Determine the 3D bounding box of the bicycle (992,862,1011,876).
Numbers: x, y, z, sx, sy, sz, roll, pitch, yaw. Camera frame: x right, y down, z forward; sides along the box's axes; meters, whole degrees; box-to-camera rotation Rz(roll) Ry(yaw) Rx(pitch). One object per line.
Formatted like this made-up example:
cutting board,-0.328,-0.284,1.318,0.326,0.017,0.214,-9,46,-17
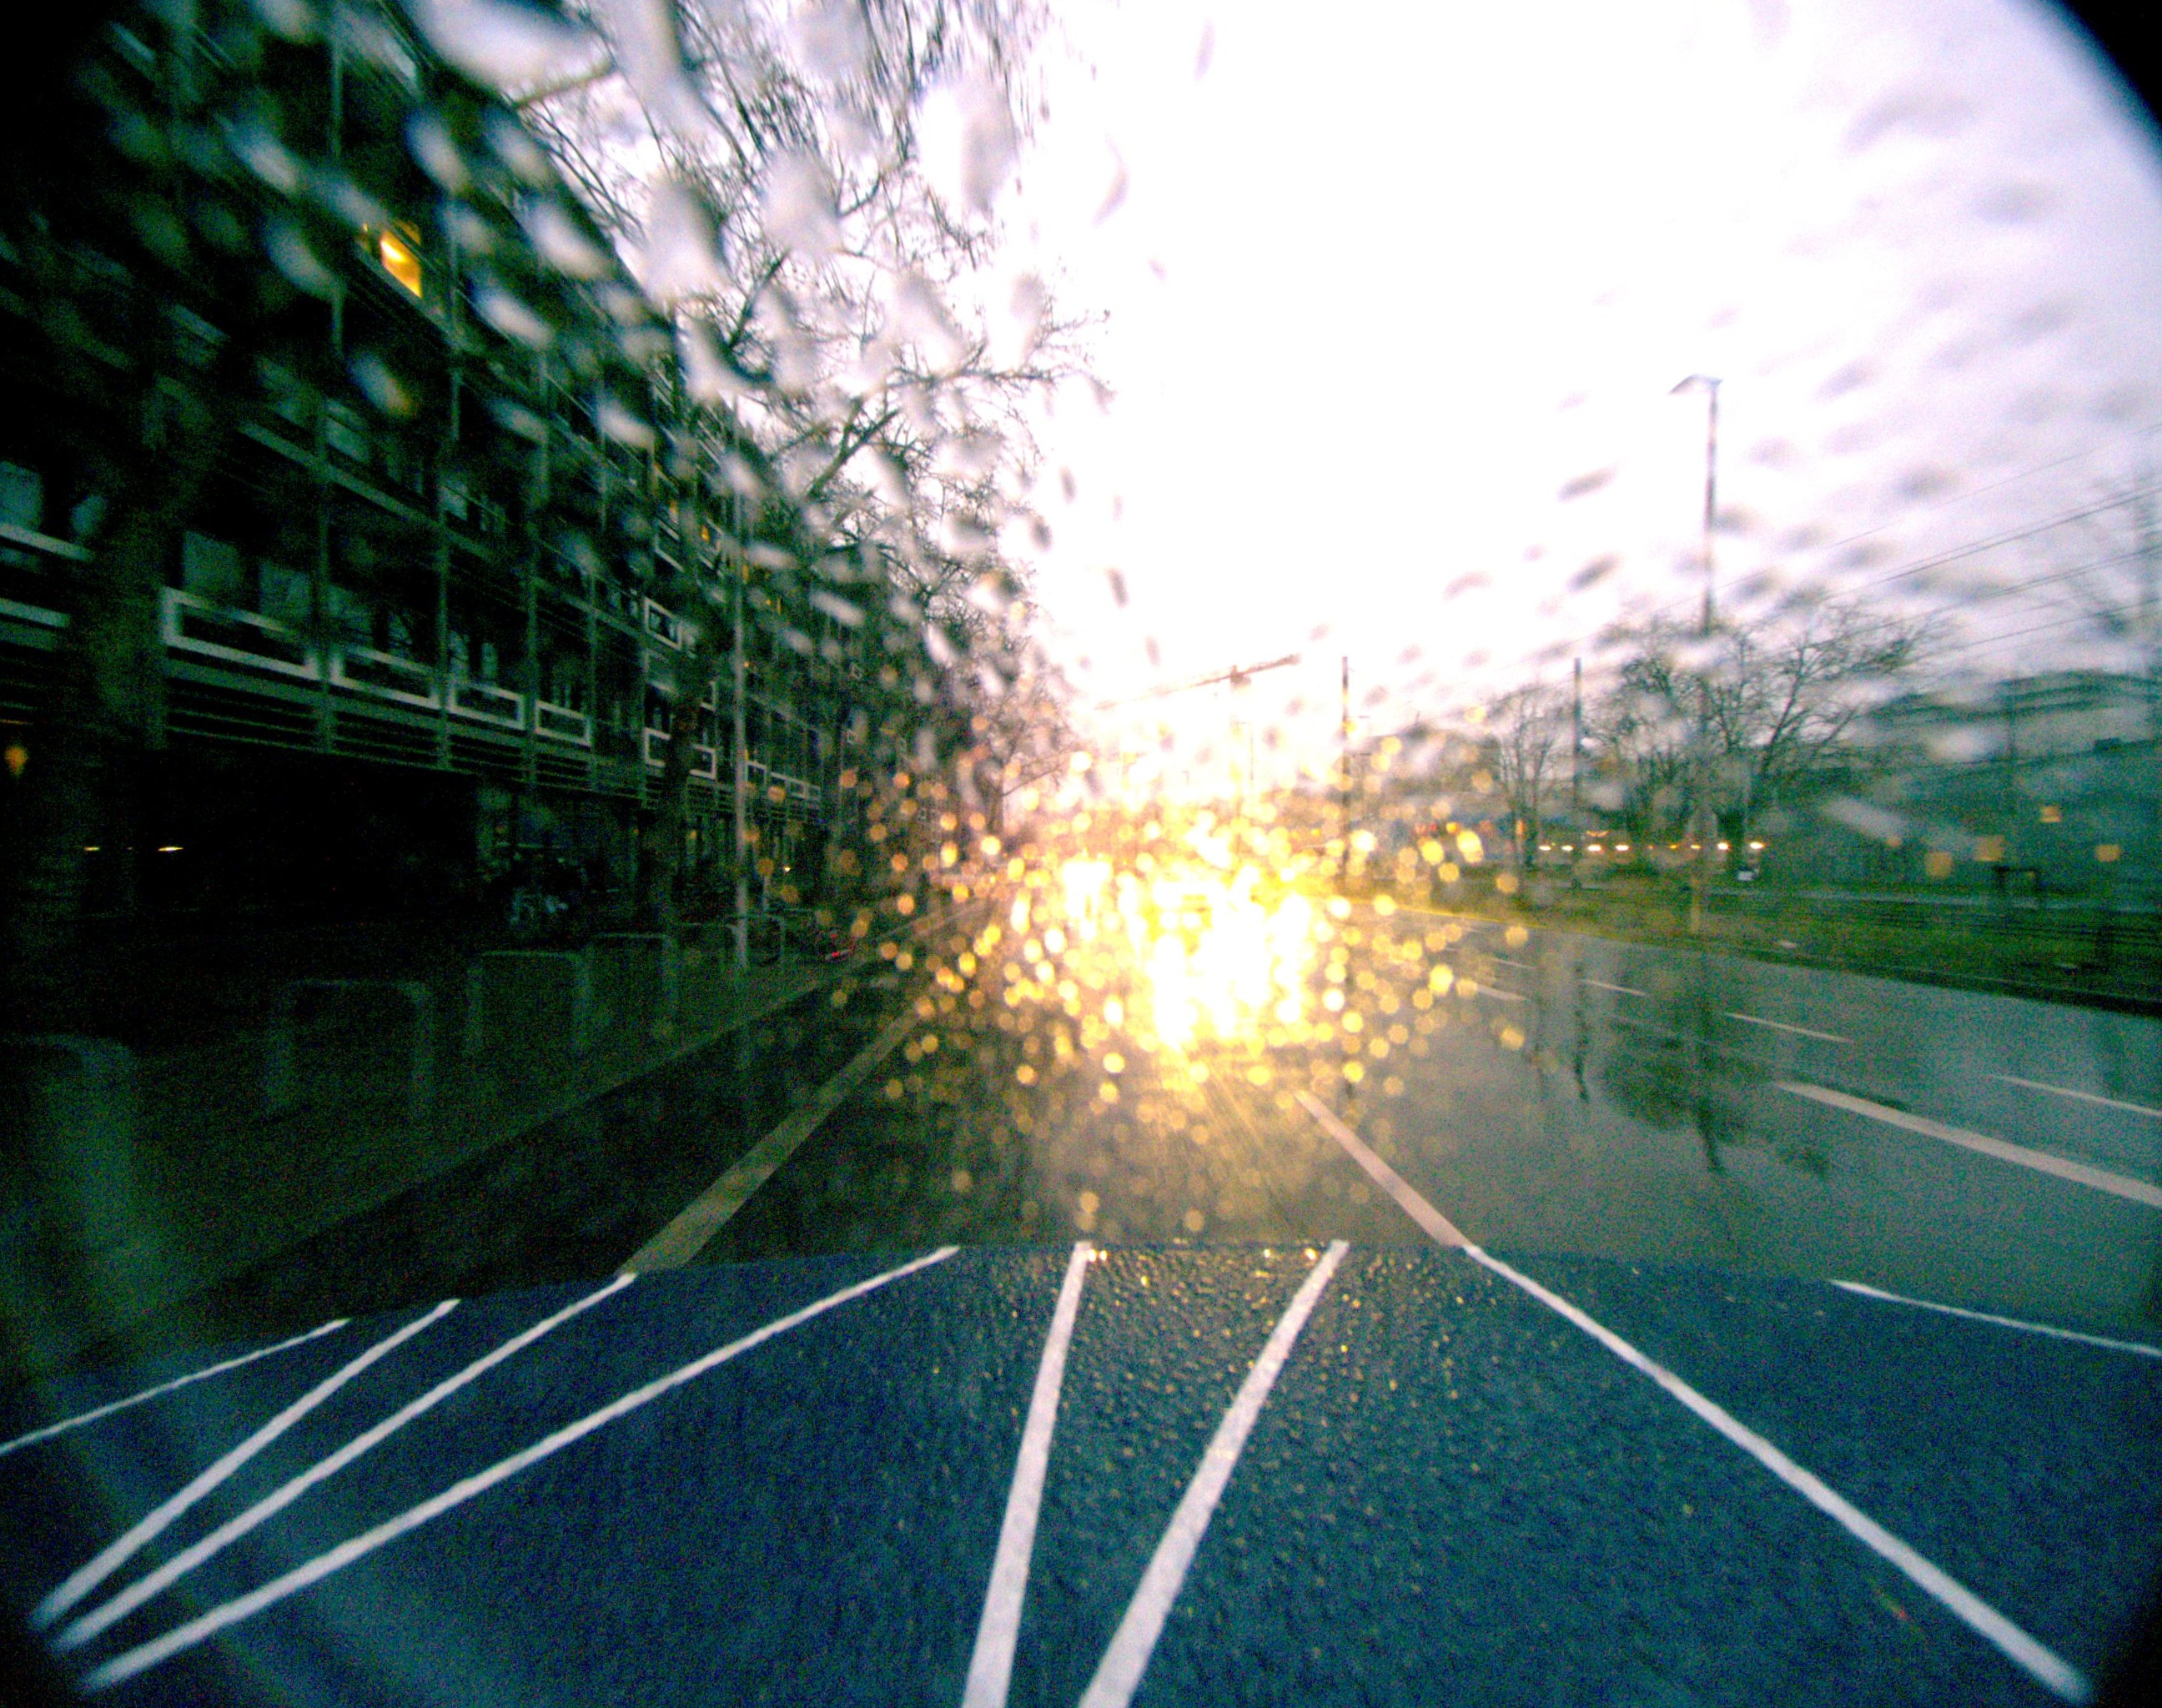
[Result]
bicycle,-6.380,1.211,61.056,1.523,1.030,0.469,-2,1,-6

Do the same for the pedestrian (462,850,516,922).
pedestrian,-13.729,0.728,17.649,0.617,1.646,0.780,0,0,1

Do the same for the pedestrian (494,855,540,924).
pedestrian,-13.093,0.805,17.655,0.484,1.555,0.745,0,0,0

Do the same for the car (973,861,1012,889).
car,-5.158,1.216,44.710,1.764,1.539,4.019,0,0,1

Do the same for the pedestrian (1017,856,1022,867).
pedestrian,-11.224,1.301,139.140,0.838,2.002,0.771,-2,1,0

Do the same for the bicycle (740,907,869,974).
bicycle,-4.305,1.342,11.913,1.792,0.968,0.617,1,0,-3

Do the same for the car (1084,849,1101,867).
car,1.378,0.482,86.325,1.858,2.001,4.001,-1,-1,2

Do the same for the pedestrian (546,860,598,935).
pedestrian,-10.634,0.887,15.880,0.649,1.535,0.615,0,0,2

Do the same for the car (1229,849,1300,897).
car,7.055,0.696,29.639,1.707,1.733,4.612,0,0,1

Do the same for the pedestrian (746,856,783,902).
pedestrian,-10.617,0.841,25.501,0.866,1.515,0.838,0,0,2

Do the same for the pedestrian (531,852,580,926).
pedestrian,-12.113,0.785,17.531,0.501,1.658,0.873,0,0,2

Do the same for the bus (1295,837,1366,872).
bus,27.262,0.041,83.791,2.815,3.556,12.300,0,0,-5

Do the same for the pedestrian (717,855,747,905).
pedestrian,-12.059,0.887,26.263,0.660,1.708,0.842,0,0,-4

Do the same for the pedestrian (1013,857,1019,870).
pedestrian,-9.986,1.418,117.306,0.838,2.002,0.771,-2,1,0

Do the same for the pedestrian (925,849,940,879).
pedestrian,-10.074,0.649,51.512,0.791,2.002,1.024,0,0,1

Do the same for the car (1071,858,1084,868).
car,-0.516,1.442,118.162,1.858,1.591,4.001,-1,-1,2

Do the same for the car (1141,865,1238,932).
car,2.614,1.039,19.211,1.778,1.466,4.129,0,0,-1

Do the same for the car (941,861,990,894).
car,-5.665,1.119,37.710,1.608,1.424,3.931,2,0,3

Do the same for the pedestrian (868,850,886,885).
pedestrian,-11.834,0.758,44.084,0.822,2.002,0.736,0,0,-1

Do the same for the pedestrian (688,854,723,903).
pedestrian,-12.826,0.821,25.982,0.640,1.645,0.844,0,0,34

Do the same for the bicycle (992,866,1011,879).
bicycle,-6.563,1.505,62.453,1.523,1.030,0.469,-2,1,-6

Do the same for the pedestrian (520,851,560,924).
pedestrian,-12.554,0.773,17.650,0.379,1.658,0.713,0,0,2
